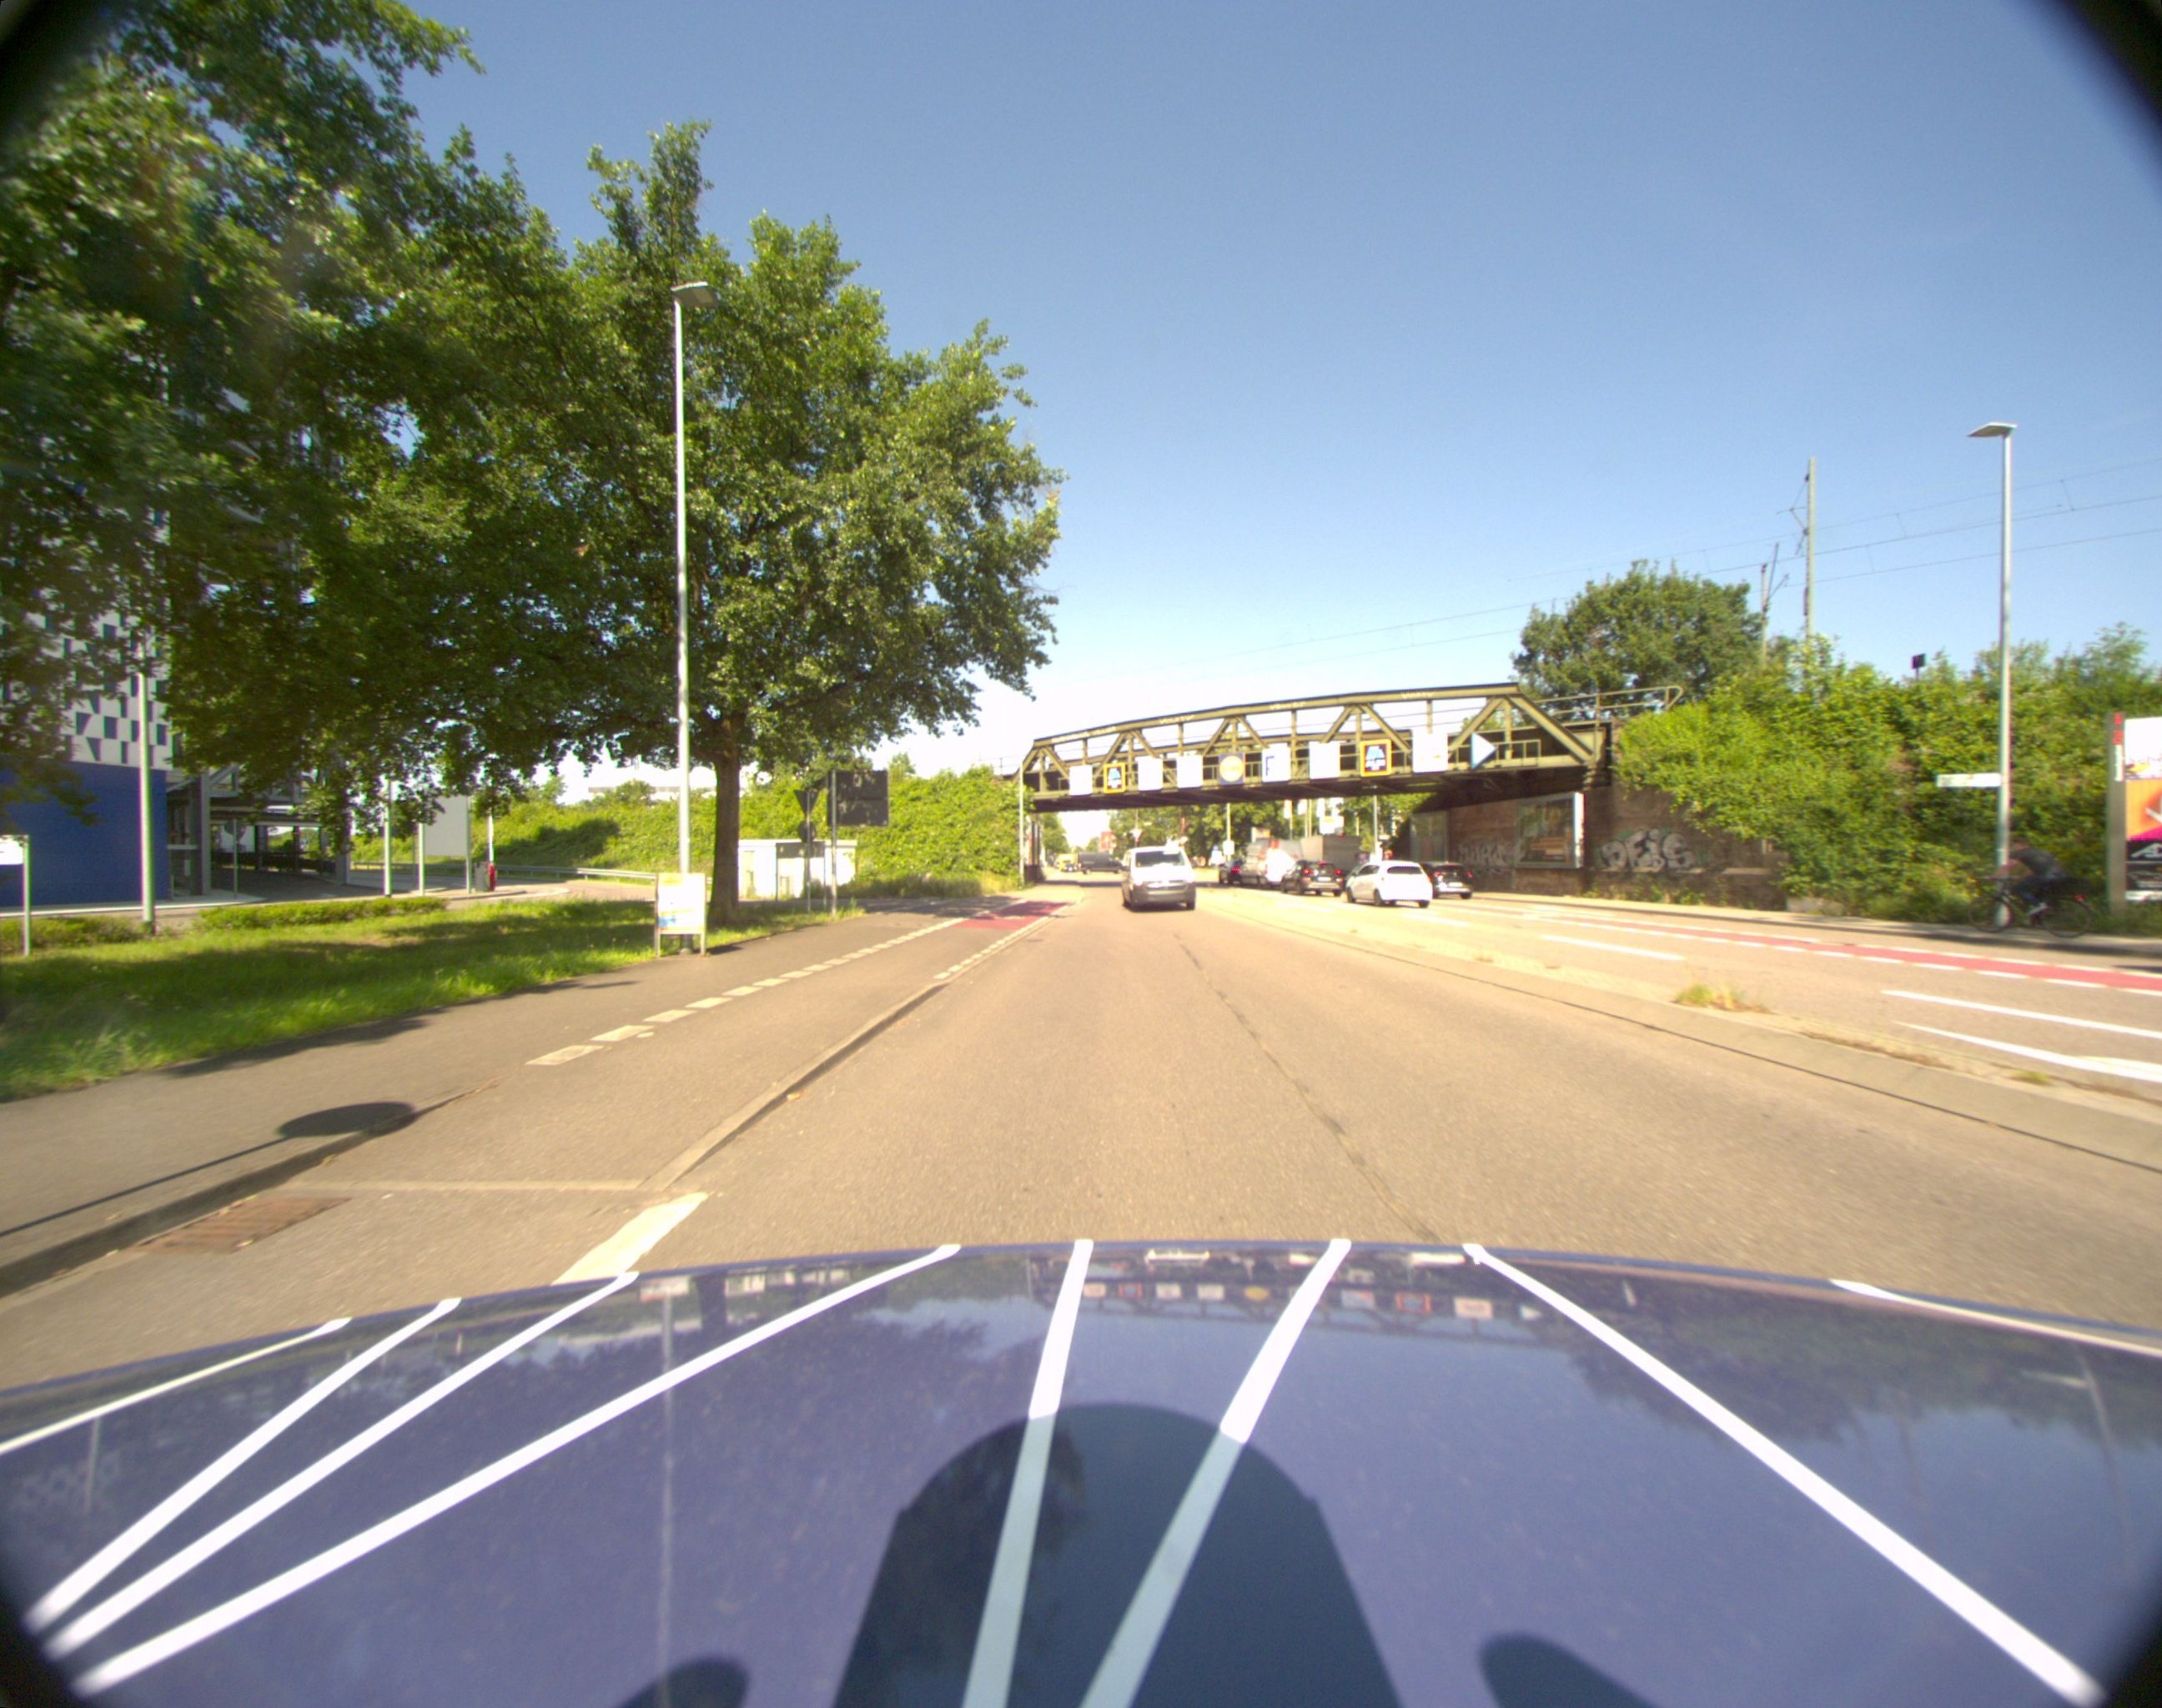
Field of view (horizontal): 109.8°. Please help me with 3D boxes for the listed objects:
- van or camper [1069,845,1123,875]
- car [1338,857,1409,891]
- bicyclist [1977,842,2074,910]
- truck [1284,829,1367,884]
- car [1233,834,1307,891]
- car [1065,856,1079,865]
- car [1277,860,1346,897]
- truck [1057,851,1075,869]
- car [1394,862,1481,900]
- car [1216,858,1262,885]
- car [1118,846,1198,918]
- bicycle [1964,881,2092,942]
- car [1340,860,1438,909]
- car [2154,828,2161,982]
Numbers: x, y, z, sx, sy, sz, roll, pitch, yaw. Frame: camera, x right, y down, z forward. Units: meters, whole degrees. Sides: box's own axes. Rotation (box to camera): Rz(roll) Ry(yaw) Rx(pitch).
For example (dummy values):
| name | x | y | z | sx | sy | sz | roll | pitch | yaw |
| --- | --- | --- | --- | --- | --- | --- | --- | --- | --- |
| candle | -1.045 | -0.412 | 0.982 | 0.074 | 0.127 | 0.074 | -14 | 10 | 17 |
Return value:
| name | x | y | z | sx | sy | sz | roll | pitch | yaw |
| --- | --- | --- | --- | --- | --- | --- | --- | --- | --- |
| van or camper | 1.713 | 0.738 | 87.732 | 5.780 | 3.136 | 2.599 | -3 | -1 | -5 |
| car | 15.090 | 1.034 | 39.451 | 1.989 | 1.679 | 4.288 | 1 | -1 | 0 |
| bicyclist | 17.538 | 0.393 | 14.137 | 0.635 | 1.220 | 0.950 | 0 | 0 | 4 |
| truck | 14.744 | 0.146 | 46.372 | 2.347 | 3.070 | 7.068 | -1 | 0 | -3 |
| car | 10.067 | 0.440 | 41.110 | 1.999 | 2.788 | 6.936 | 1 | 0 | -2 |
| car | -1.396 | 1.010 | 114.816 | 1.823 | 1.346 | 3.998 | -1 | 0 | -4 |
| car | 10.078 | 1.054 | 33.489 | 1.773 | 1.485 | 4.178 | 1 | -1 | 0 |
| truck | -2.556 | 1.080 | 130.277 | 2.411 | 2.845 | 5.803 | -3 | -1 | -6 |
| car | 15.043 | 1.133 | 32.315 | 1.773 | 1.485 | 4.178 | 1 | -1 | 0 |
| car | 10.210 | 1.076 | 49.318 | 1.998 | 1.671 | 4.950 | -1 | 0 | 1 |
| car | 2.282 | 0.802 | 23.674 | 1.887 | 1.982 | 4.974 | -1 | 0 | -1 |
| bicycle | 17.610 | 1.038 | 14.184 | 0.447 | 1.021 | 1.616 | 0 | 0 | 4 |
| car | 10.128 | 0.982 | 25.293 | 1.647 | 1.485 | 3.829 | 1 | -1 | -1 |
| car | 14.955 | 0.646 | 7.232 | 1.998 | 2.002 | 5.347 | 0 | 0 | 1 |
